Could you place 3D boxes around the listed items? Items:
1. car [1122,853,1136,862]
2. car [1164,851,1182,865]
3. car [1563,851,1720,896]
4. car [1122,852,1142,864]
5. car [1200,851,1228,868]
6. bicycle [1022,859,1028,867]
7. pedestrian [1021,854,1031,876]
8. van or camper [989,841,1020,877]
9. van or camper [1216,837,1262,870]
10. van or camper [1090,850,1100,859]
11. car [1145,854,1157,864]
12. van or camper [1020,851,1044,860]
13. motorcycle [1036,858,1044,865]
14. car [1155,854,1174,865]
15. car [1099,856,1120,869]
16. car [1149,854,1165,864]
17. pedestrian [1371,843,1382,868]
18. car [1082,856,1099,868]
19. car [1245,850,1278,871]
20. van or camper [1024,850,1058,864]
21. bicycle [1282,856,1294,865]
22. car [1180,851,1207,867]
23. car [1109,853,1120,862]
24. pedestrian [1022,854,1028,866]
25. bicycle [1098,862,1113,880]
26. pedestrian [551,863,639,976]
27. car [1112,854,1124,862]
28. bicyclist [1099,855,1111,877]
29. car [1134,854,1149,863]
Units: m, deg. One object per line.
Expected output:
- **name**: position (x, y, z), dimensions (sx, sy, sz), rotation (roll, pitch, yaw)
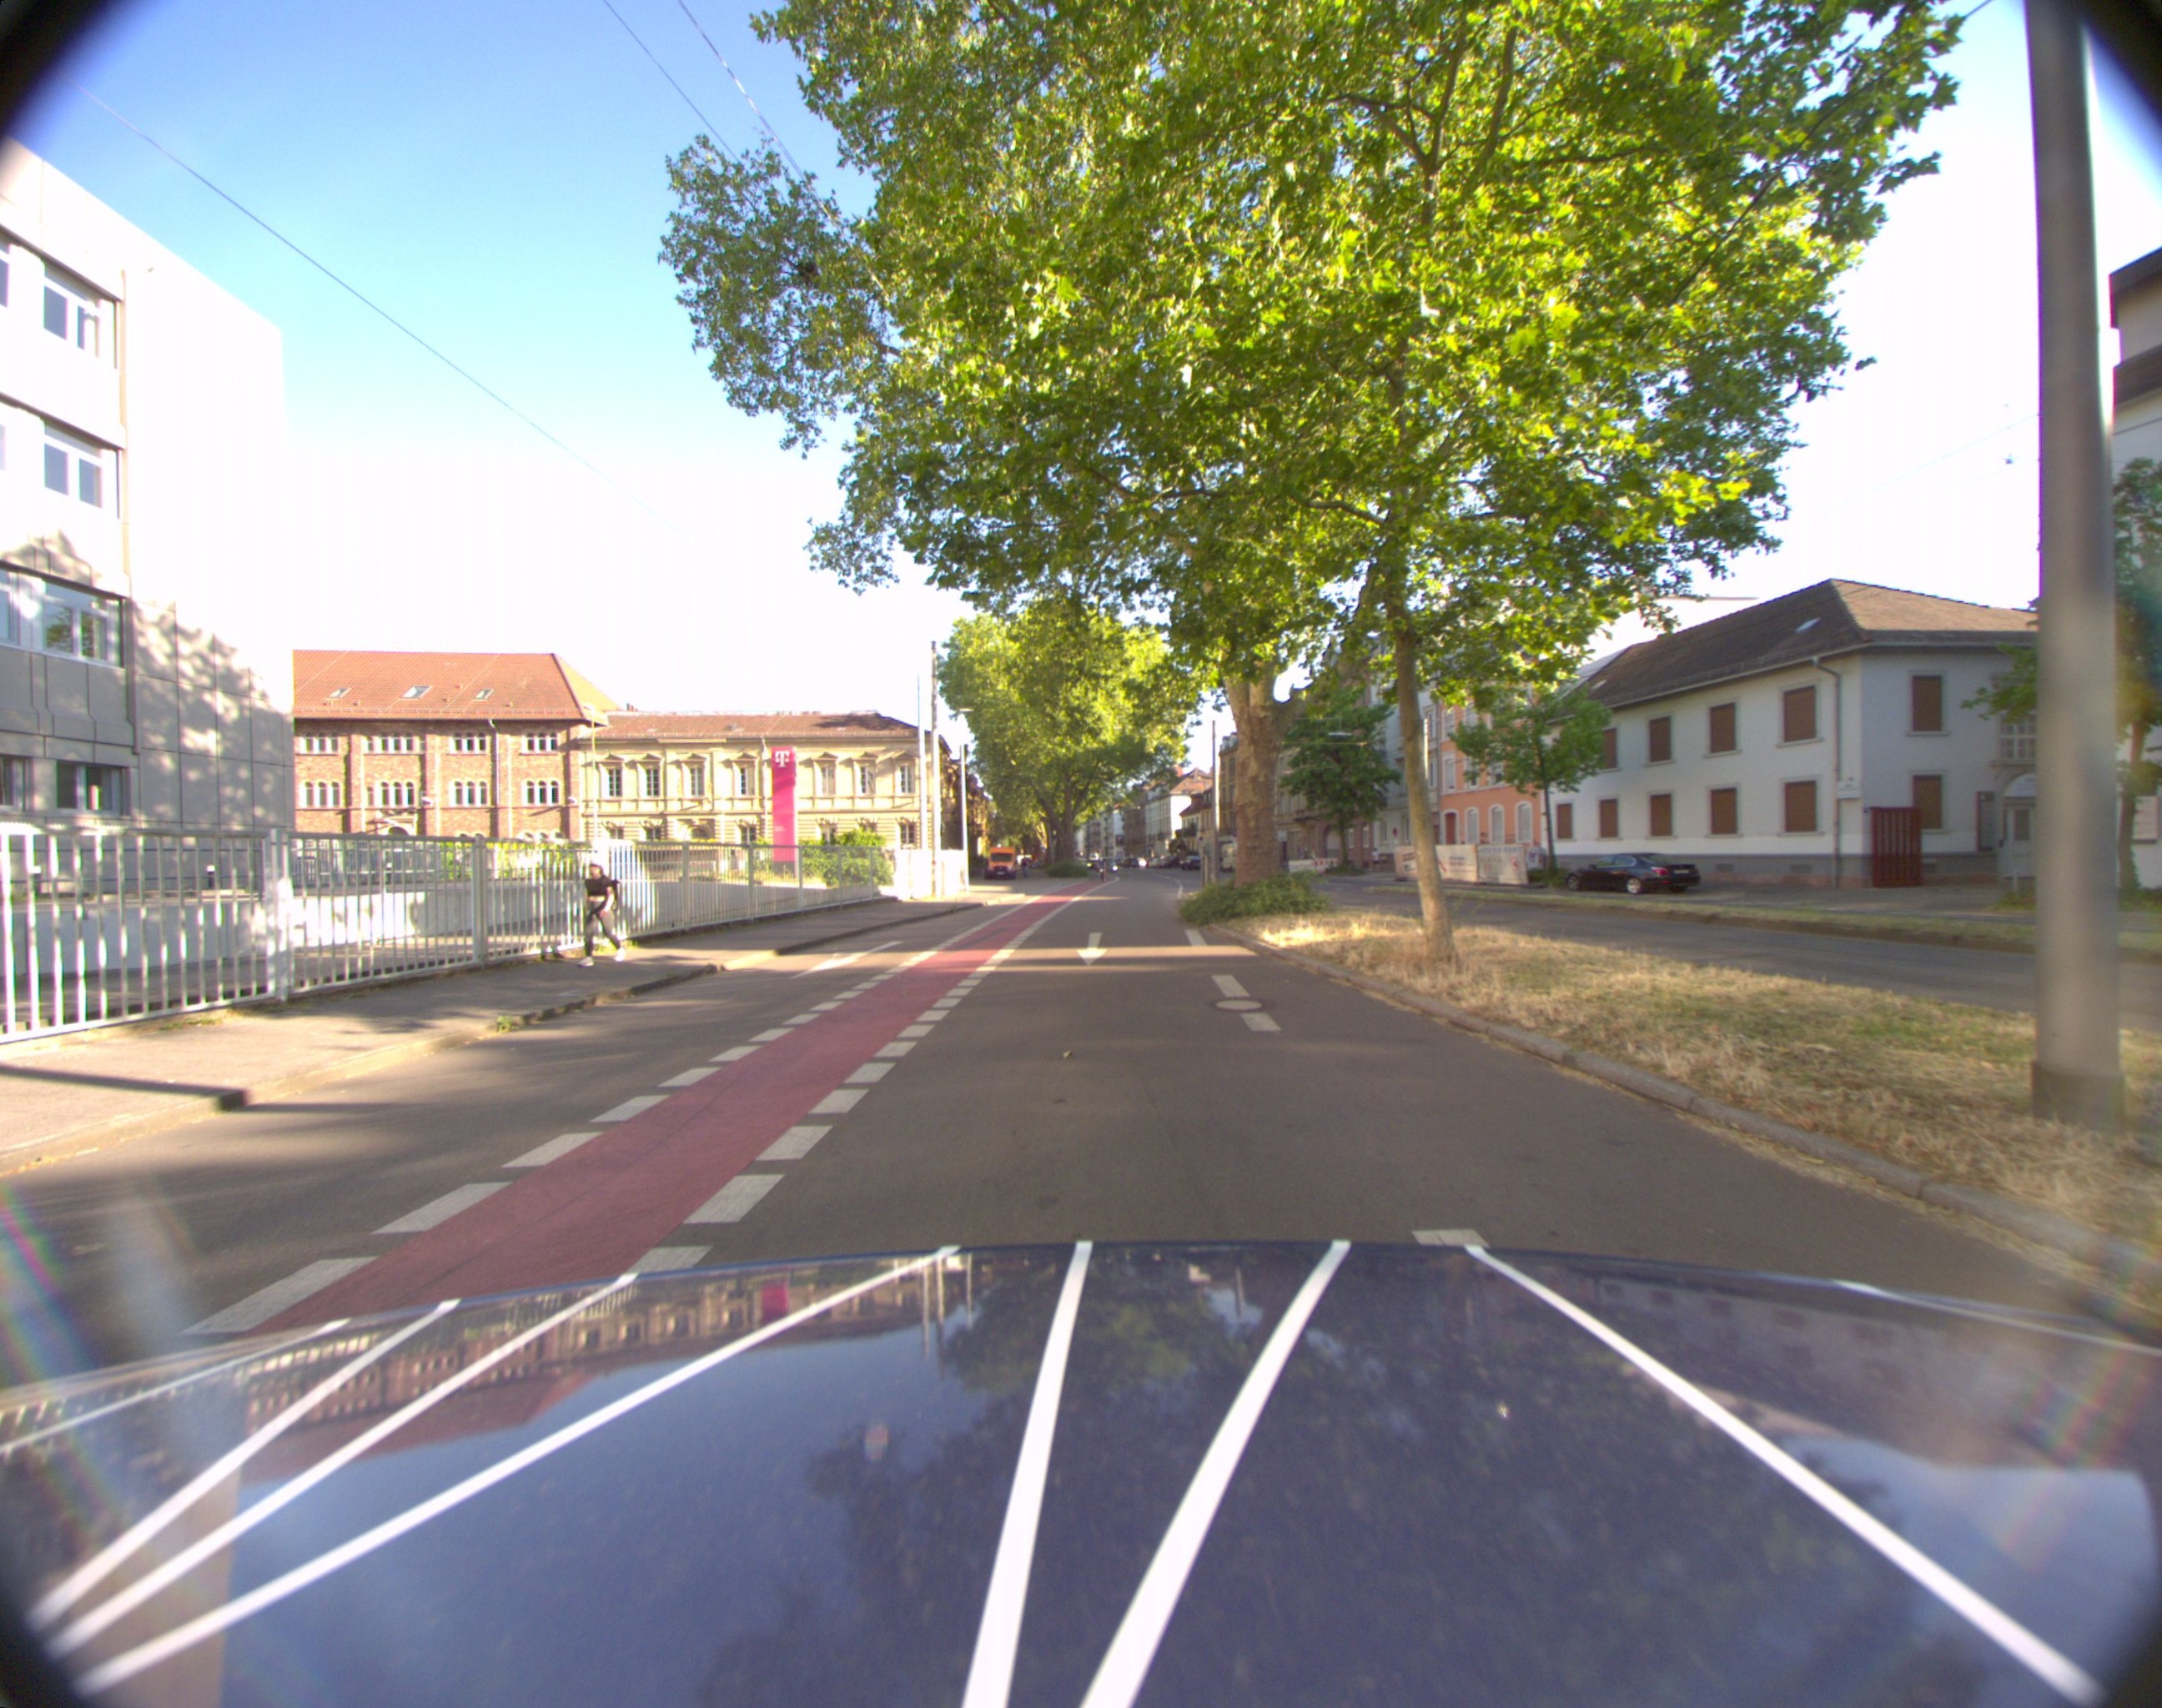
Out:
- **car**: position (8.807, 0.677, 139.832), dimensions (1.799, 1.630, 4.252), rotation (-3, 0, -5)
- **car**: position (12.587, 0.540, 104.090), dimensions (1.729, 1.736, 3.624), rotation (-4, 0, -4)
- **car**: position (20.390, 0.656, 27.957), dimensions (1.999, 1.505, 4.722), rotation (-1, 0, -6)
- **car**: position (7.231, 0.512, 108.260), dimensions (2.000, 1.679, 4.307), rotation (-1, 0, -7)
- **car**: position (14.714, 0.621, 84.287), dimensions (1.816, 1.695, 4.441), rotation (-4, 0, -6)
- **bicycle**: position (-7.431, 1.150, 100.430), dimensions (0.676, 1.026, 1.900), rotation (1, 0, -5)
- **pedestrian**: position (-4.484, 0.882, 61.854), dimensions (0.653, 1.726, 1.006), rotation (-1, 1, -14)
- **van or camper**: position (-5.746, 0.359, 57.598), dimensions (2.041, 2.544, 5.771), rotation (-1, 0, -3)
- **van or camper**: position (15.485, -0.053, 74.937), dimensions (2.426, 2.930, 7.248), rotation (-4, 0, -4)
- **van or camper**: position (3.498, 0.098, 196.170), dimensions (1.946, 2.267, 4.595), rotation (-3, 0, -6)
- **car**: position (10.957, 0.712, 119.240), dimensions (1.422, 1.502, 3.324), rotation (-3, 0, -2)
- **van or camper**: position (-12.870, 0.413, 198.352), dimensions (6.102, 2.417, 2.427), rotation (-1, 0, -5)
- **motorcycle**: position (-6.370, 1.118, 118.162), dimensions (1.274, 1.048, 0.394), rotation (-1, 1, -42)
- **car**: position (11.906, 0.721, 108.447), dimensions (1.668, 1.446, 4.402), rotation (-4, 0, -6)
- **car**: position (3.066, 0.910, 82.502), dimensions (1.740, 1.365, 3.917), rotation (-3, 0, -6)
- **car**: position (11.378, 0.759, 113.846), dimensions (1.587, 1.482, 4.468), rotation (-3, 0, -6)
- **pedestrian**: position (21.520, 0.115, 55.268), dimensions (0.599, 1.807, 0.481), rotation (-1, 1, -5)
- **car**: position (1.213, 1.012, 97.637), dimensions (1.740, 1.365, 3.917), rotation (-3, 0, -6)
- **car**: position (16.269, 0.556, 68.595), dimensions (1.635, 1.696, 3.369), rotation (-4, 1, -8)
- **van or camper**: position (-7.303, 0.519, 138.465), dimensions (5.931, 2.484, 2.219), rotation (-1, 3, -7)
- **bicycle**: position (19.835, 0.613, 72.862), dimensions (0.580, 0.919, 1.791), rotation (-1, 0, -3)
- **car**: position (13.585, 0.625, 91.834), dimensions (1.999, 1.693, 4.748), rotation (-4, 0, -6)
- **car**: position (7.009, 0.731, 160.145), dimensions (1.799, 1.617, 4.081), rotation (-3, 0, -5)
- **pedestrian**: position (-7.410, 0.775, 100.287), dimensions (0.671, 1.610, 1.101), rotation (1, 1, -4)
- **bicycle**: position (1.619, 1.130, 50.575), dimensions (0.715, 1.131, 2.119), rotation (-1, 0, -4)
- **pedestrian**: position (-7.540, 0.991, 11.823), dimensions (0.697, 1.674, 0.931), rotation (-1, 1, 5)
- **car**: position (7.495, 0.793, 154.867), dimensions (1.799, 1.368, 4.081), rotation (-3, 0, -5)
- **bicyclist**: position (1.610, 0.821, 50.633), dimensions (0.715, 1.435, 0.953), rotation (-1, 0, -4)
- **car**: position (10.258, 0.805, 129.467), dimensions (1.869, 1.423, 4.081), rotation (-3, 0, -5)
